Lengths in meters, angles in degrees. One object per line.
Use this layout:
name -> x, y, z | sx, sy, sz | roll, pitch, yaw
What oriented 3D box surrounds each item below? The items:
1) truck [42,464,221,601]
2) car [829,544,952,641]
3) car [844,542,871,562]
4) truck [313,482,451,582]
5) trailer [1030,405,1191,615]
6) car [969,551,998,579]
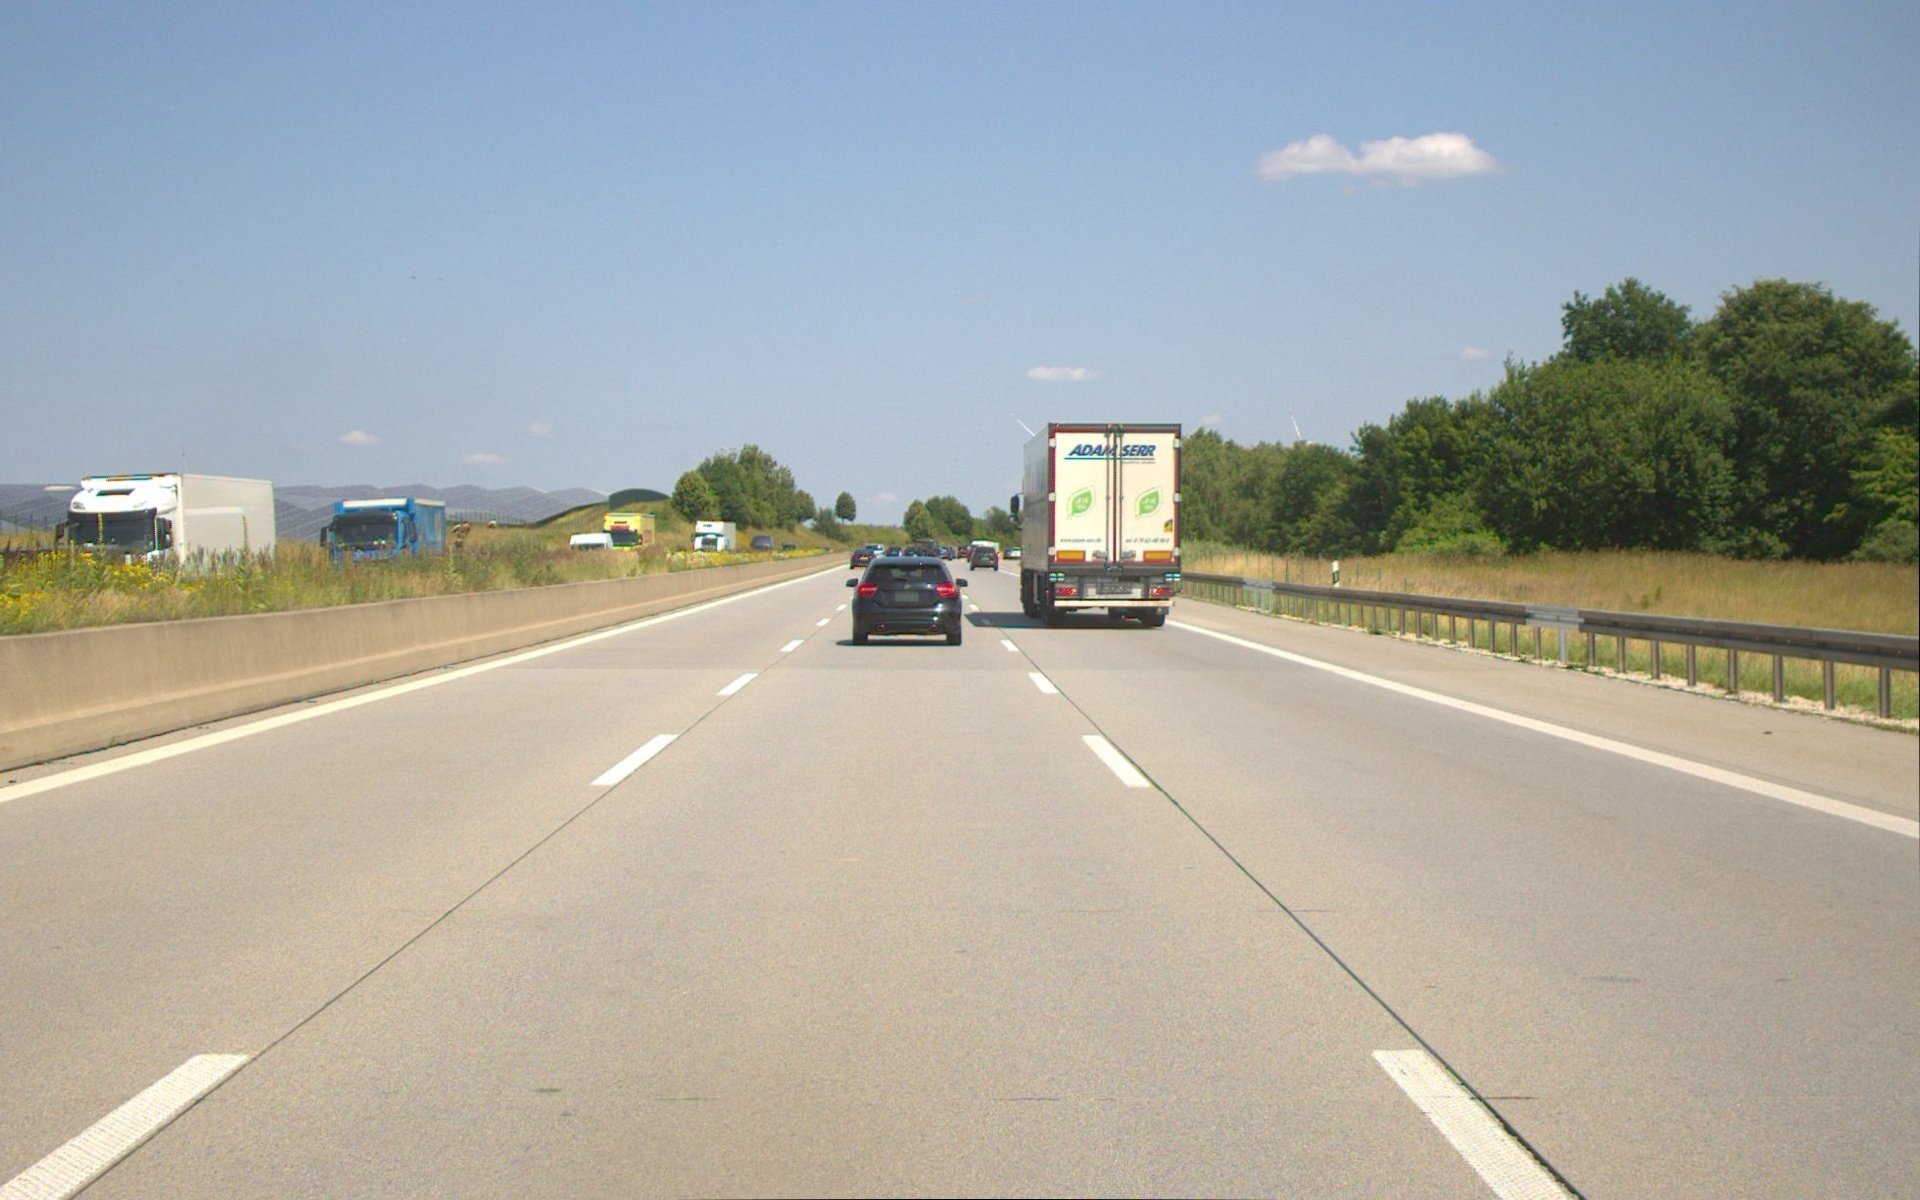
truck -> -22.110, -1.767, 92.108 | 3.122, 3.475, 6.885 | 1, 0, 0
car -> -1.141, -0.147, 56.503 | 1.910, 1.487, 4.192 | 1, 1, -1
car -> -6.888, -3.229, 231.438 | 1.655, 1.192, 3.960 | 3, 1, -1
truck -> -18.567, -2.145, 111.103 | 2.824, 3.053, 10.376 | 1, 0, -1
trailer -> 3.038, -1.833, 72.940 | 2.852, 4.029, 12.713 | 1, 1, 0
car -> 1.590, -2.344, 230.798 | 1.827, 1.900, 4.000 | 0, 1, -1
